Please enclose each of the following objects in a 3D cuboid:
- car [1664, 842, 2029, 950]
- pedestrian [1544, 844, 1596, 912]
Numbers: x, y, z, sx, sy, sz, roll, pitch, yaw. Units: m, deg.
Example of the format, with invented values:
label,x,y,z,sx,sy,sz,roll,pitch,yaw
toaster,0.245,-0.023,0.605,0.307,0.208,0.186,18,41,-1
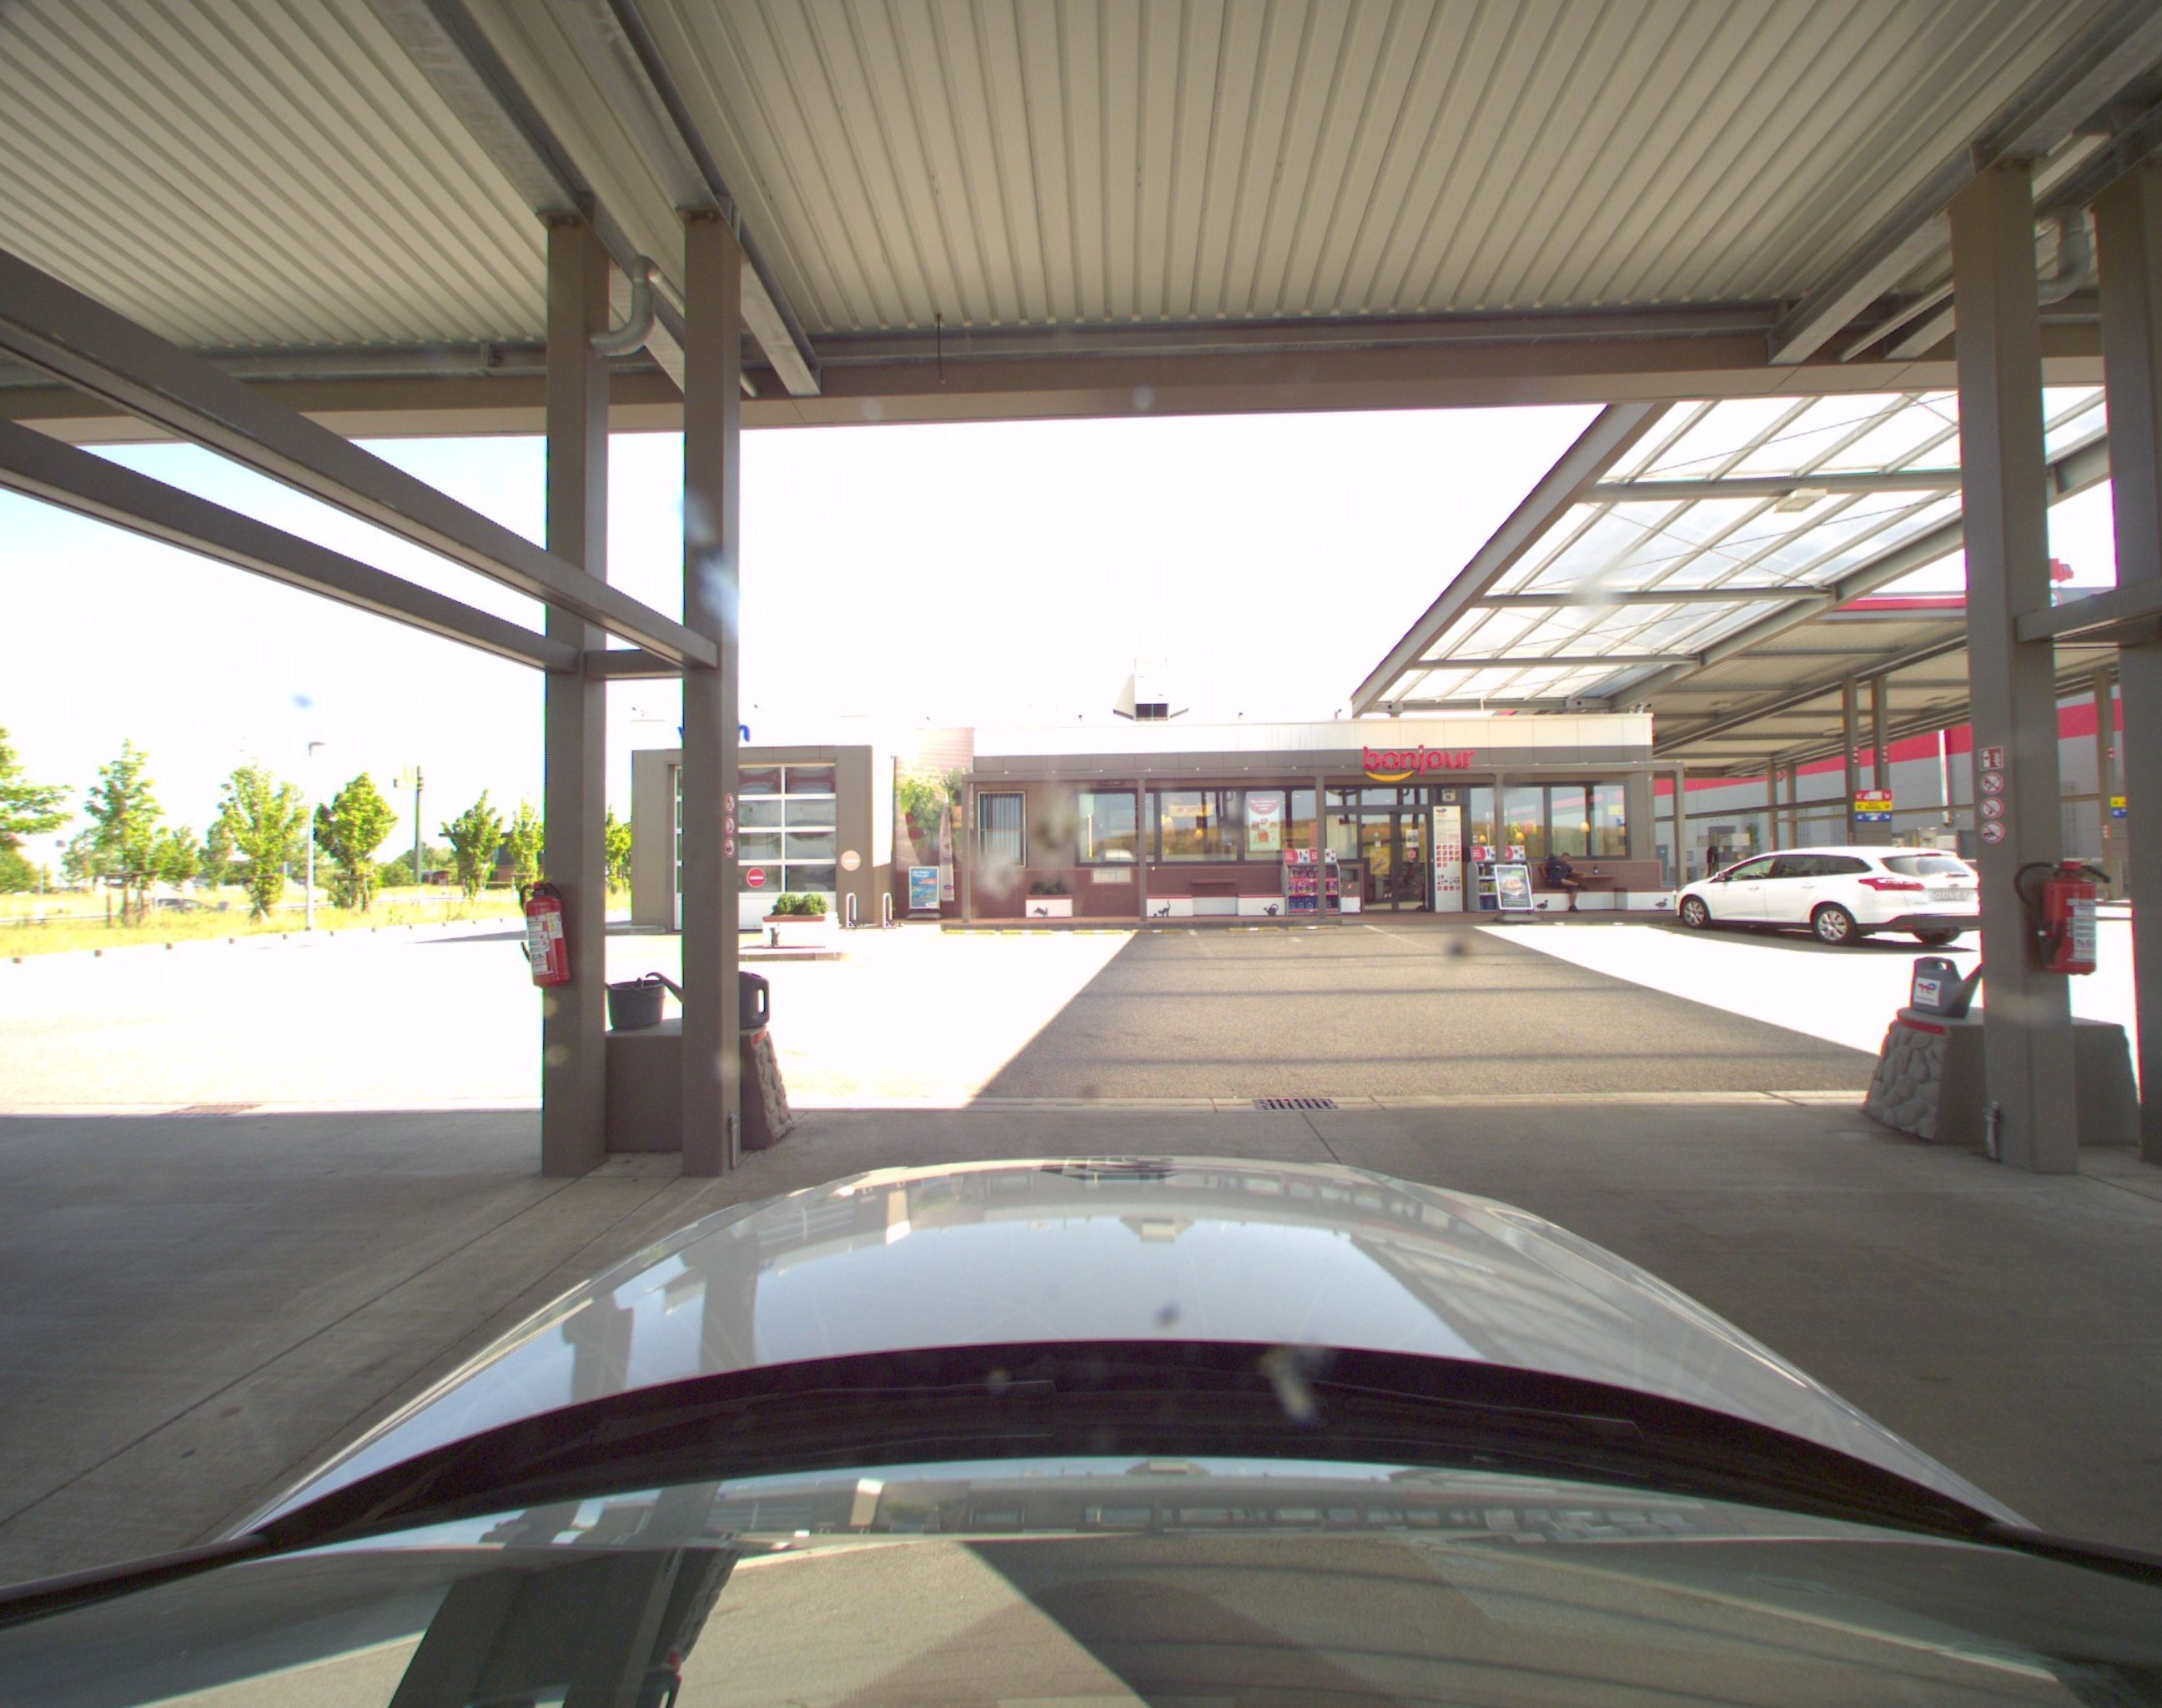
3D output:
label,x,y,z,sx,sy,sz,roll,pitch,yaw
car,12.159,0.596,13.441,1.826,1.457,4.315,-1,0,-3
pedestrian,10.560,0.503,17.593,0.698,1.432,0.673,-1,-1,1
